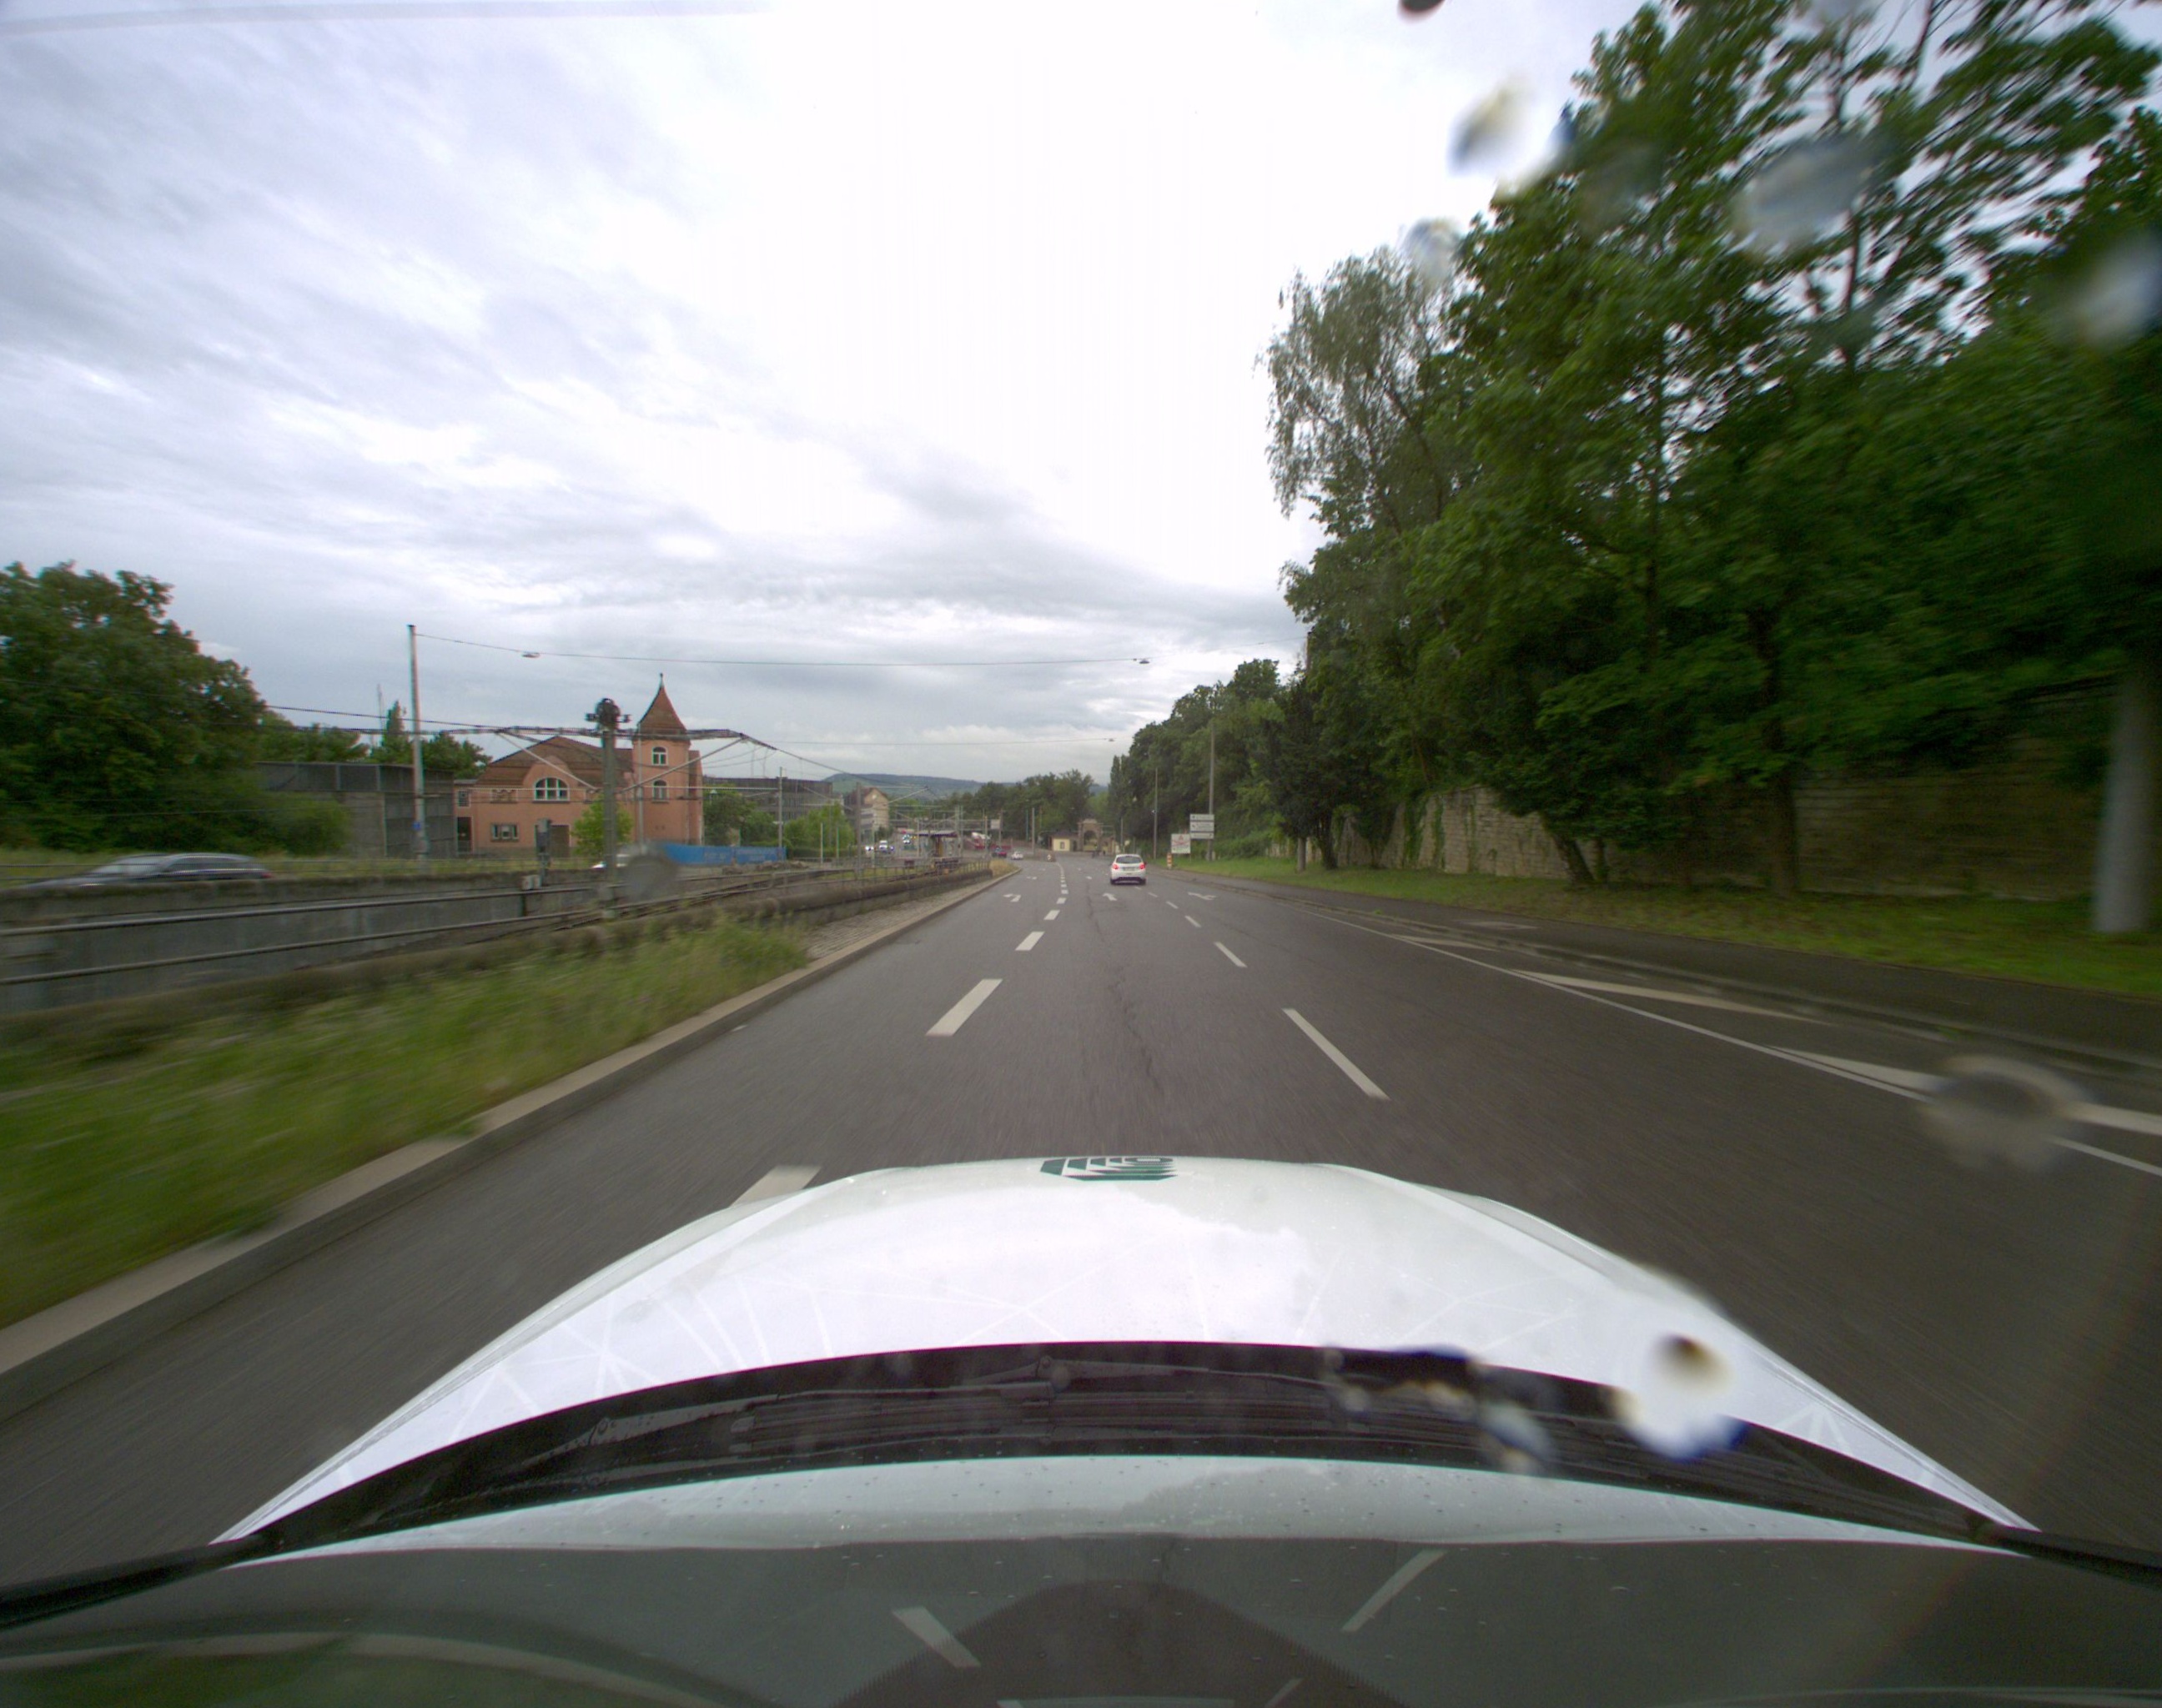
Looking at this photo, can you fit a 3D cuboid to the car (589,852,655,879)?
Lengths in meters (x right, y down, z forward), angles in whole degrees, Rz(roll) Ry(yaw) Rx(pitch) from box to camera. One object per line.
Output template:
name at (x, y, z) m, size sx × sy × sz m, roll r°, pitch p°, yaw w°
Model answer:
car at (-24.672, 0.599, 43.882) m, size 1.551 × 1.292 × 3.558 m, roll 1°, pitch 1°, yaw -1°

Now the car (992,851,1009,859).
car at (-16.560, 0.155, 167.158) m, size 2.005 × 1.706 × 3.963 m, roll 0°, pitch 1°, yaw -29°

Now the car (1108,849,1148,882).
car at (2.294, 0.554, 40.361) m, size 1.861 × 1.511 × 3.901 m, roll -1°, pitch 0°, yaw 2°

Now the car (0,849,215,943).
car at (-24.243, 0.919, 19.900) m, size 1.887 × 1.970 × 4.029 m, roll 3°, pitch 0°, yaw -4°

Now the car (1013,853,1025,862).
car at (-11.902, 0.594, 156.298) m, size 1.817 × 1.606 × 3.999 m, roll -2°, pitch 0°, yaw 0°
